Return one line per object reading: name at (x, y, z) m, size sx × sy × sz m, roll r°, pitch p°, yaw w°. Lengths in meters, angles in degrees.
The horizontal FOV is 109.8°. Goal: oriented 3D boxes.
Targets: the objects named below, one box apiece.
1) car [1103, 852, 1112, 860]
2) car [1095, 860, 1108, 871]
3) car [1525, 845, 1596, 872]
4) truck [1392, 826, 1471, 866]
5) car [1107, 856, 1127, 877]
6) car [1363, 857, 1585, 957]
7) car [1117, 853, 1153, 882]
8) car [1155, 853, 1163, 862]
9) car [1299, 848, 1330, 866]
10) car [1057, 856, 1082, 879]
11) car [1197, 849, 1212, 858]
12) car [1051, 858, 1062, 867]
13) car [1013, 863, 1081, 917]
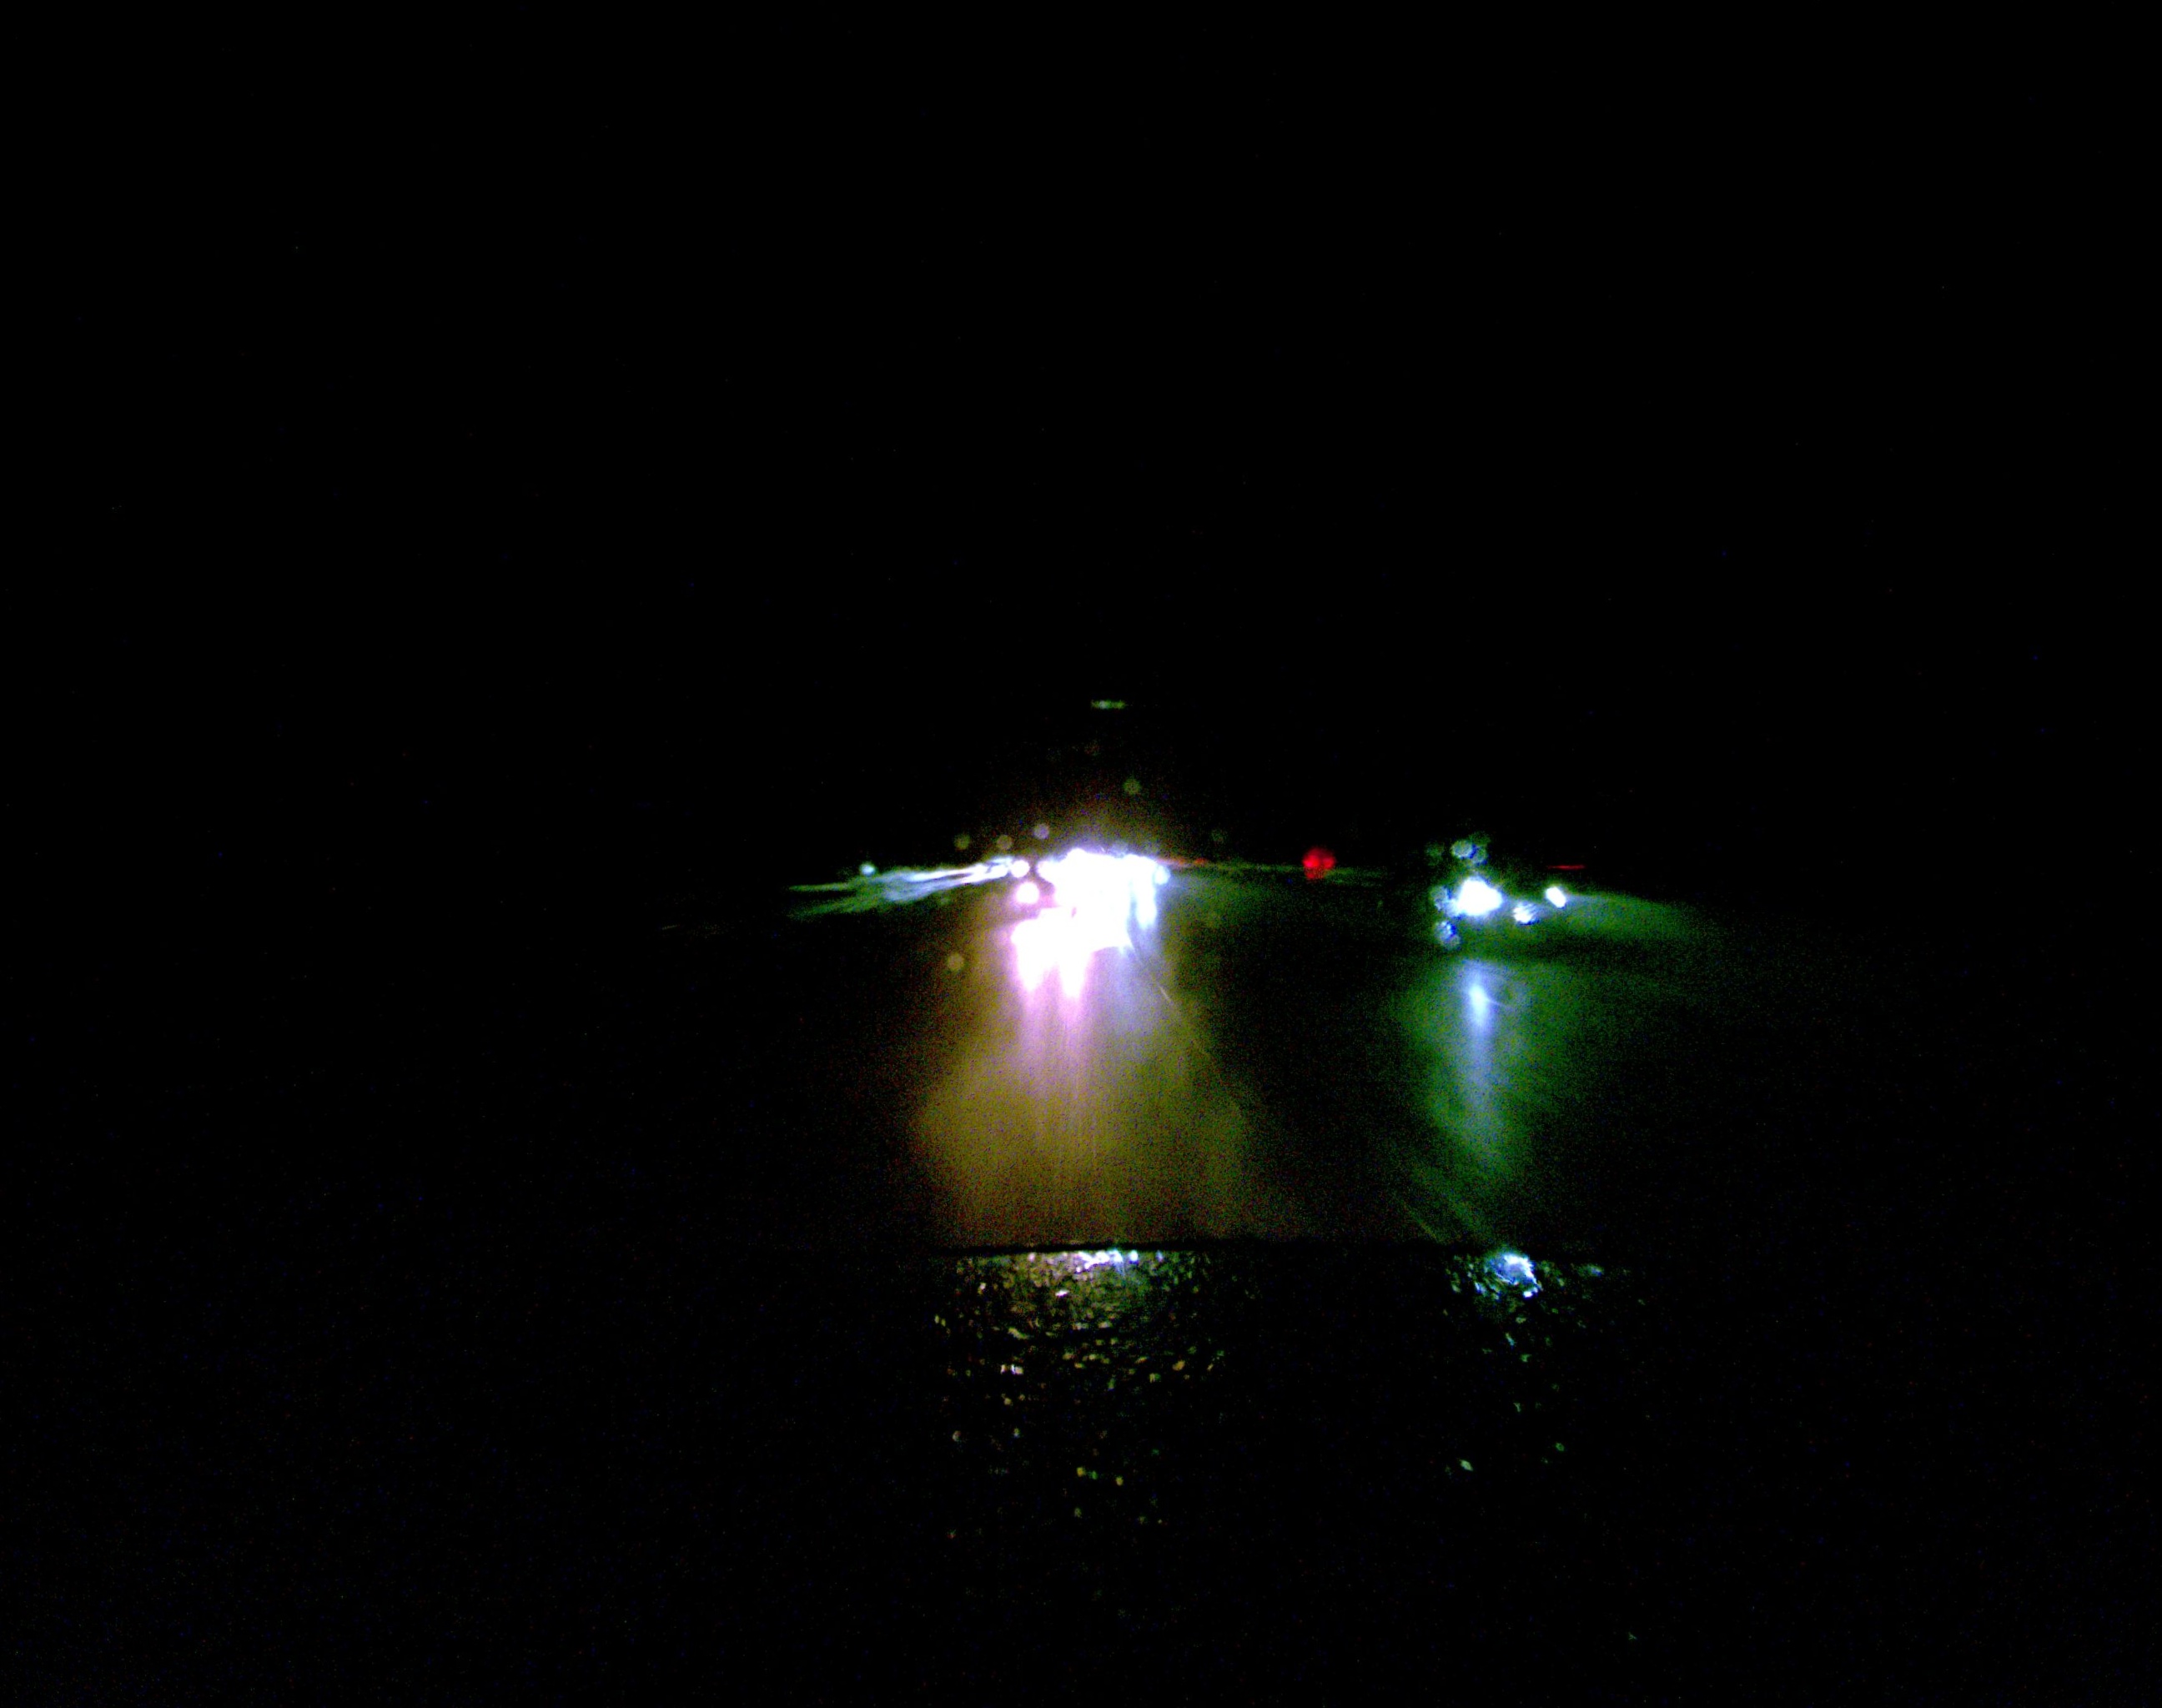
car at (5.897, 0.436, 171.086) m, size 1.800 × 1.728 × 4.000 m, roll -2°, pitch 0°, yaw 0°
car at (3.025, 1.725, 113.809) m, size 1.755 × 1.563 × 4.000 m, roll -2°, pitch 0°, yaw 0°
car at (32.079, 0.288, 50.975) m, size 1.999 × 1.663 × 4.346 m, roll -2°, pitch 0°, yaw 0°
truck at (27.346, -0.642, 59.706) m, size 2.907 × 2.830 × 7.745 m, roll -2°, pitch 0°, yaw 4°
car at (3.224, 1.089, 69.057) m, size 1.611 × 1.775 × 3.910 m, roll -2°, pitch 0°, yaw 0°
car at (6.613, 0.800, 13.389) m, size 1.661 × 1.422 × 4.246 m, roll -2°, pitch 0°, yaw 0°
car at (3.401, 0.830, 48.893) m, size 1.960 × 1.655 × 4.916 m, roll -2°, pitch 0°, yaw 0°
car at (23.429, 1.056, 227.514) m, size 1.974 × 2.387 × 4.844 m, roll -2°, pitch 0°, yaw 1°
car at (23.356, 0.302, 76.212) m, size 1.617 × 1.663 × 4.658 m, roll -2°, pitch 0°, yaw 0°
car at (-0.860, 1.018, 59.971) m, size 1.792 × 1.681 × 4.000 m, roll -2°, pitch 0°, yaw 0°
car at (23.726, -0.128, 146.200) m, size 1.999 × 1.663 × 4.346 m, roll -2°, pitch 0°, yaw 0°
car at (-4.654, 1.562, 145.659) m, size 1.755 × 1.563 × 4.000 m, roll -2°, pitch 0°, yaw 0°
car at (-0.956, 1.036, 23.498) m, size 1.774 × 1.449 × 4.195 m, roll -2°, pitch 0°, yaw 1°
